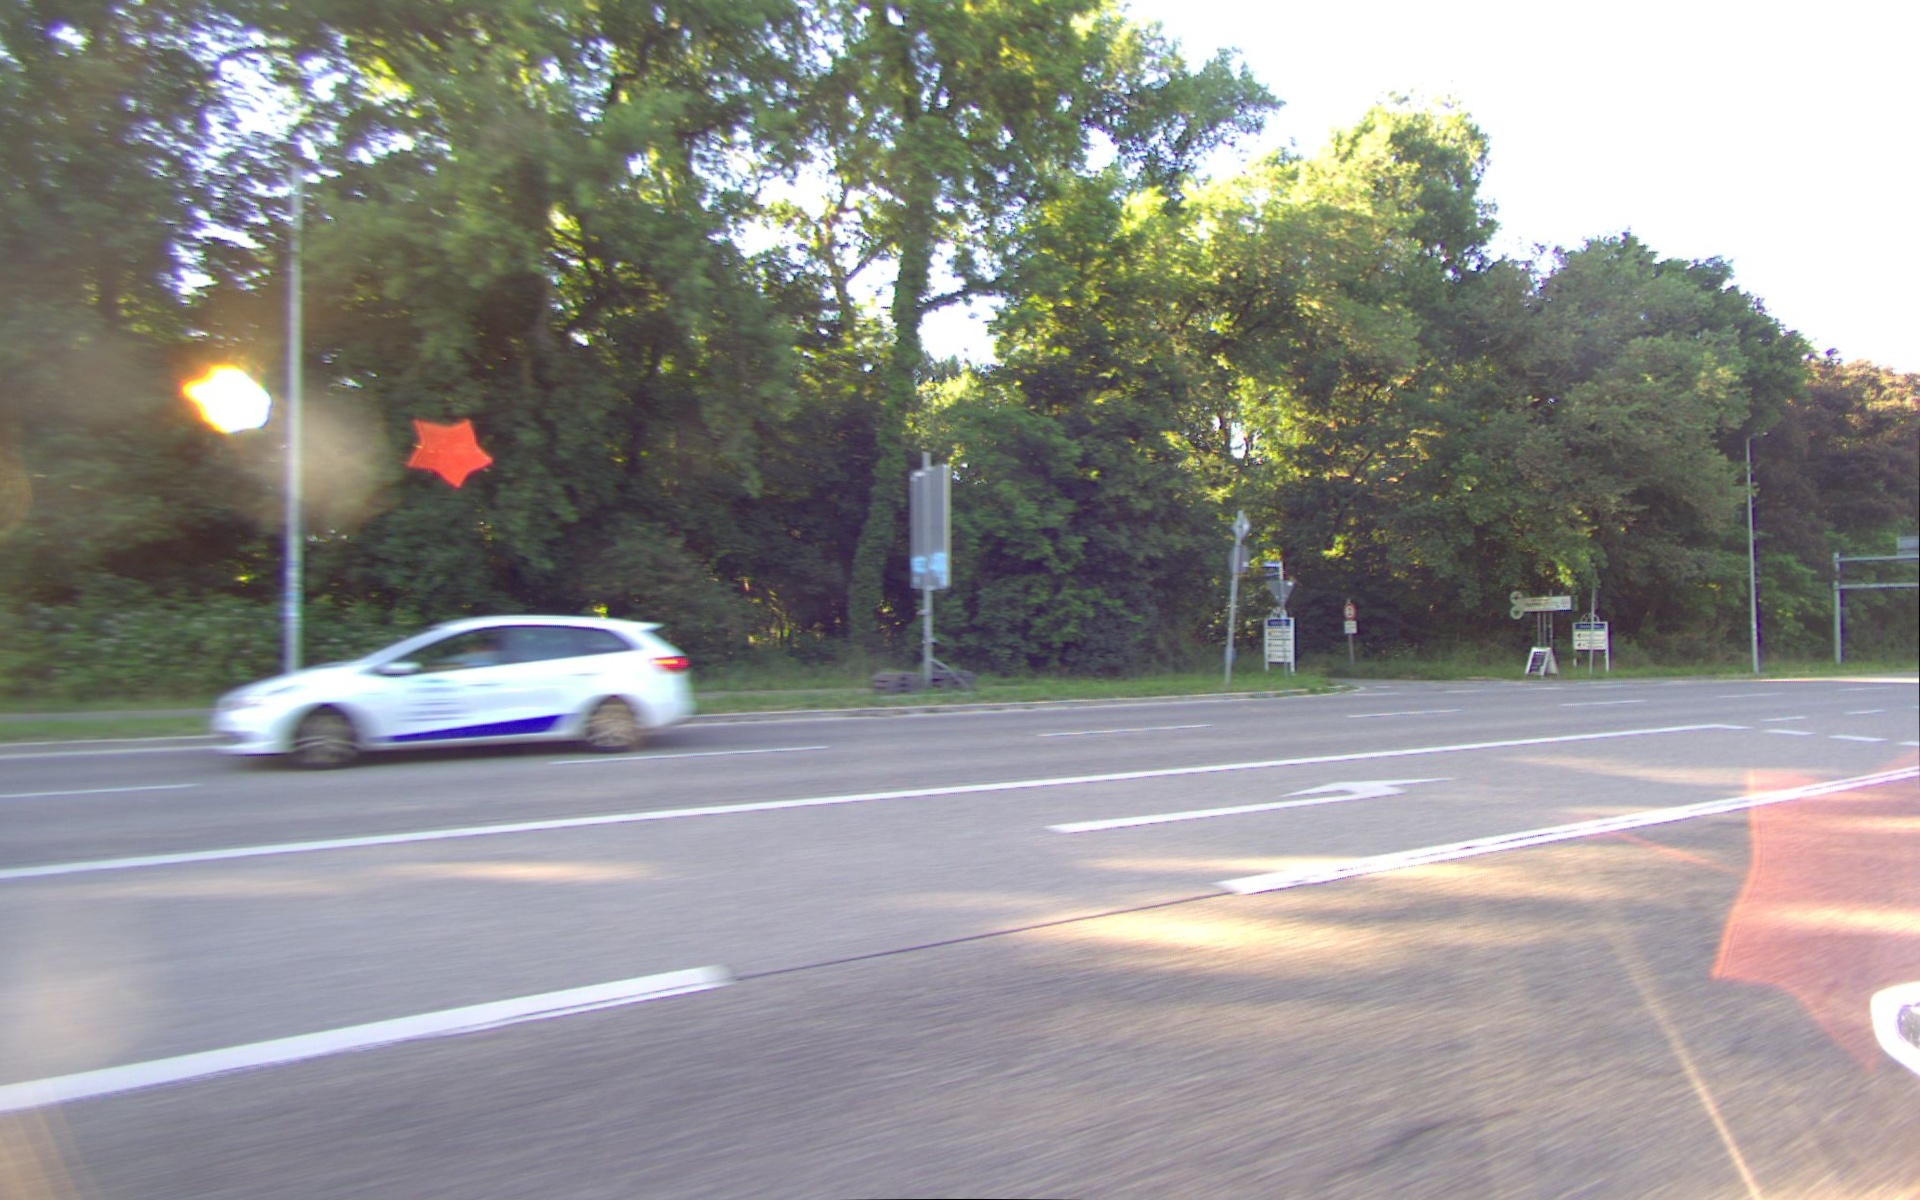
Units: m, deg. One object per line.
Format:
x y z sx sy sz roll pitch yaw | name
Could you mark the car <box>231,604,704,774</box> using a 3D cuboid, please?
-5.127 0.854 10.882 4.254 1.524 1.817 1 -2 -30 | car
